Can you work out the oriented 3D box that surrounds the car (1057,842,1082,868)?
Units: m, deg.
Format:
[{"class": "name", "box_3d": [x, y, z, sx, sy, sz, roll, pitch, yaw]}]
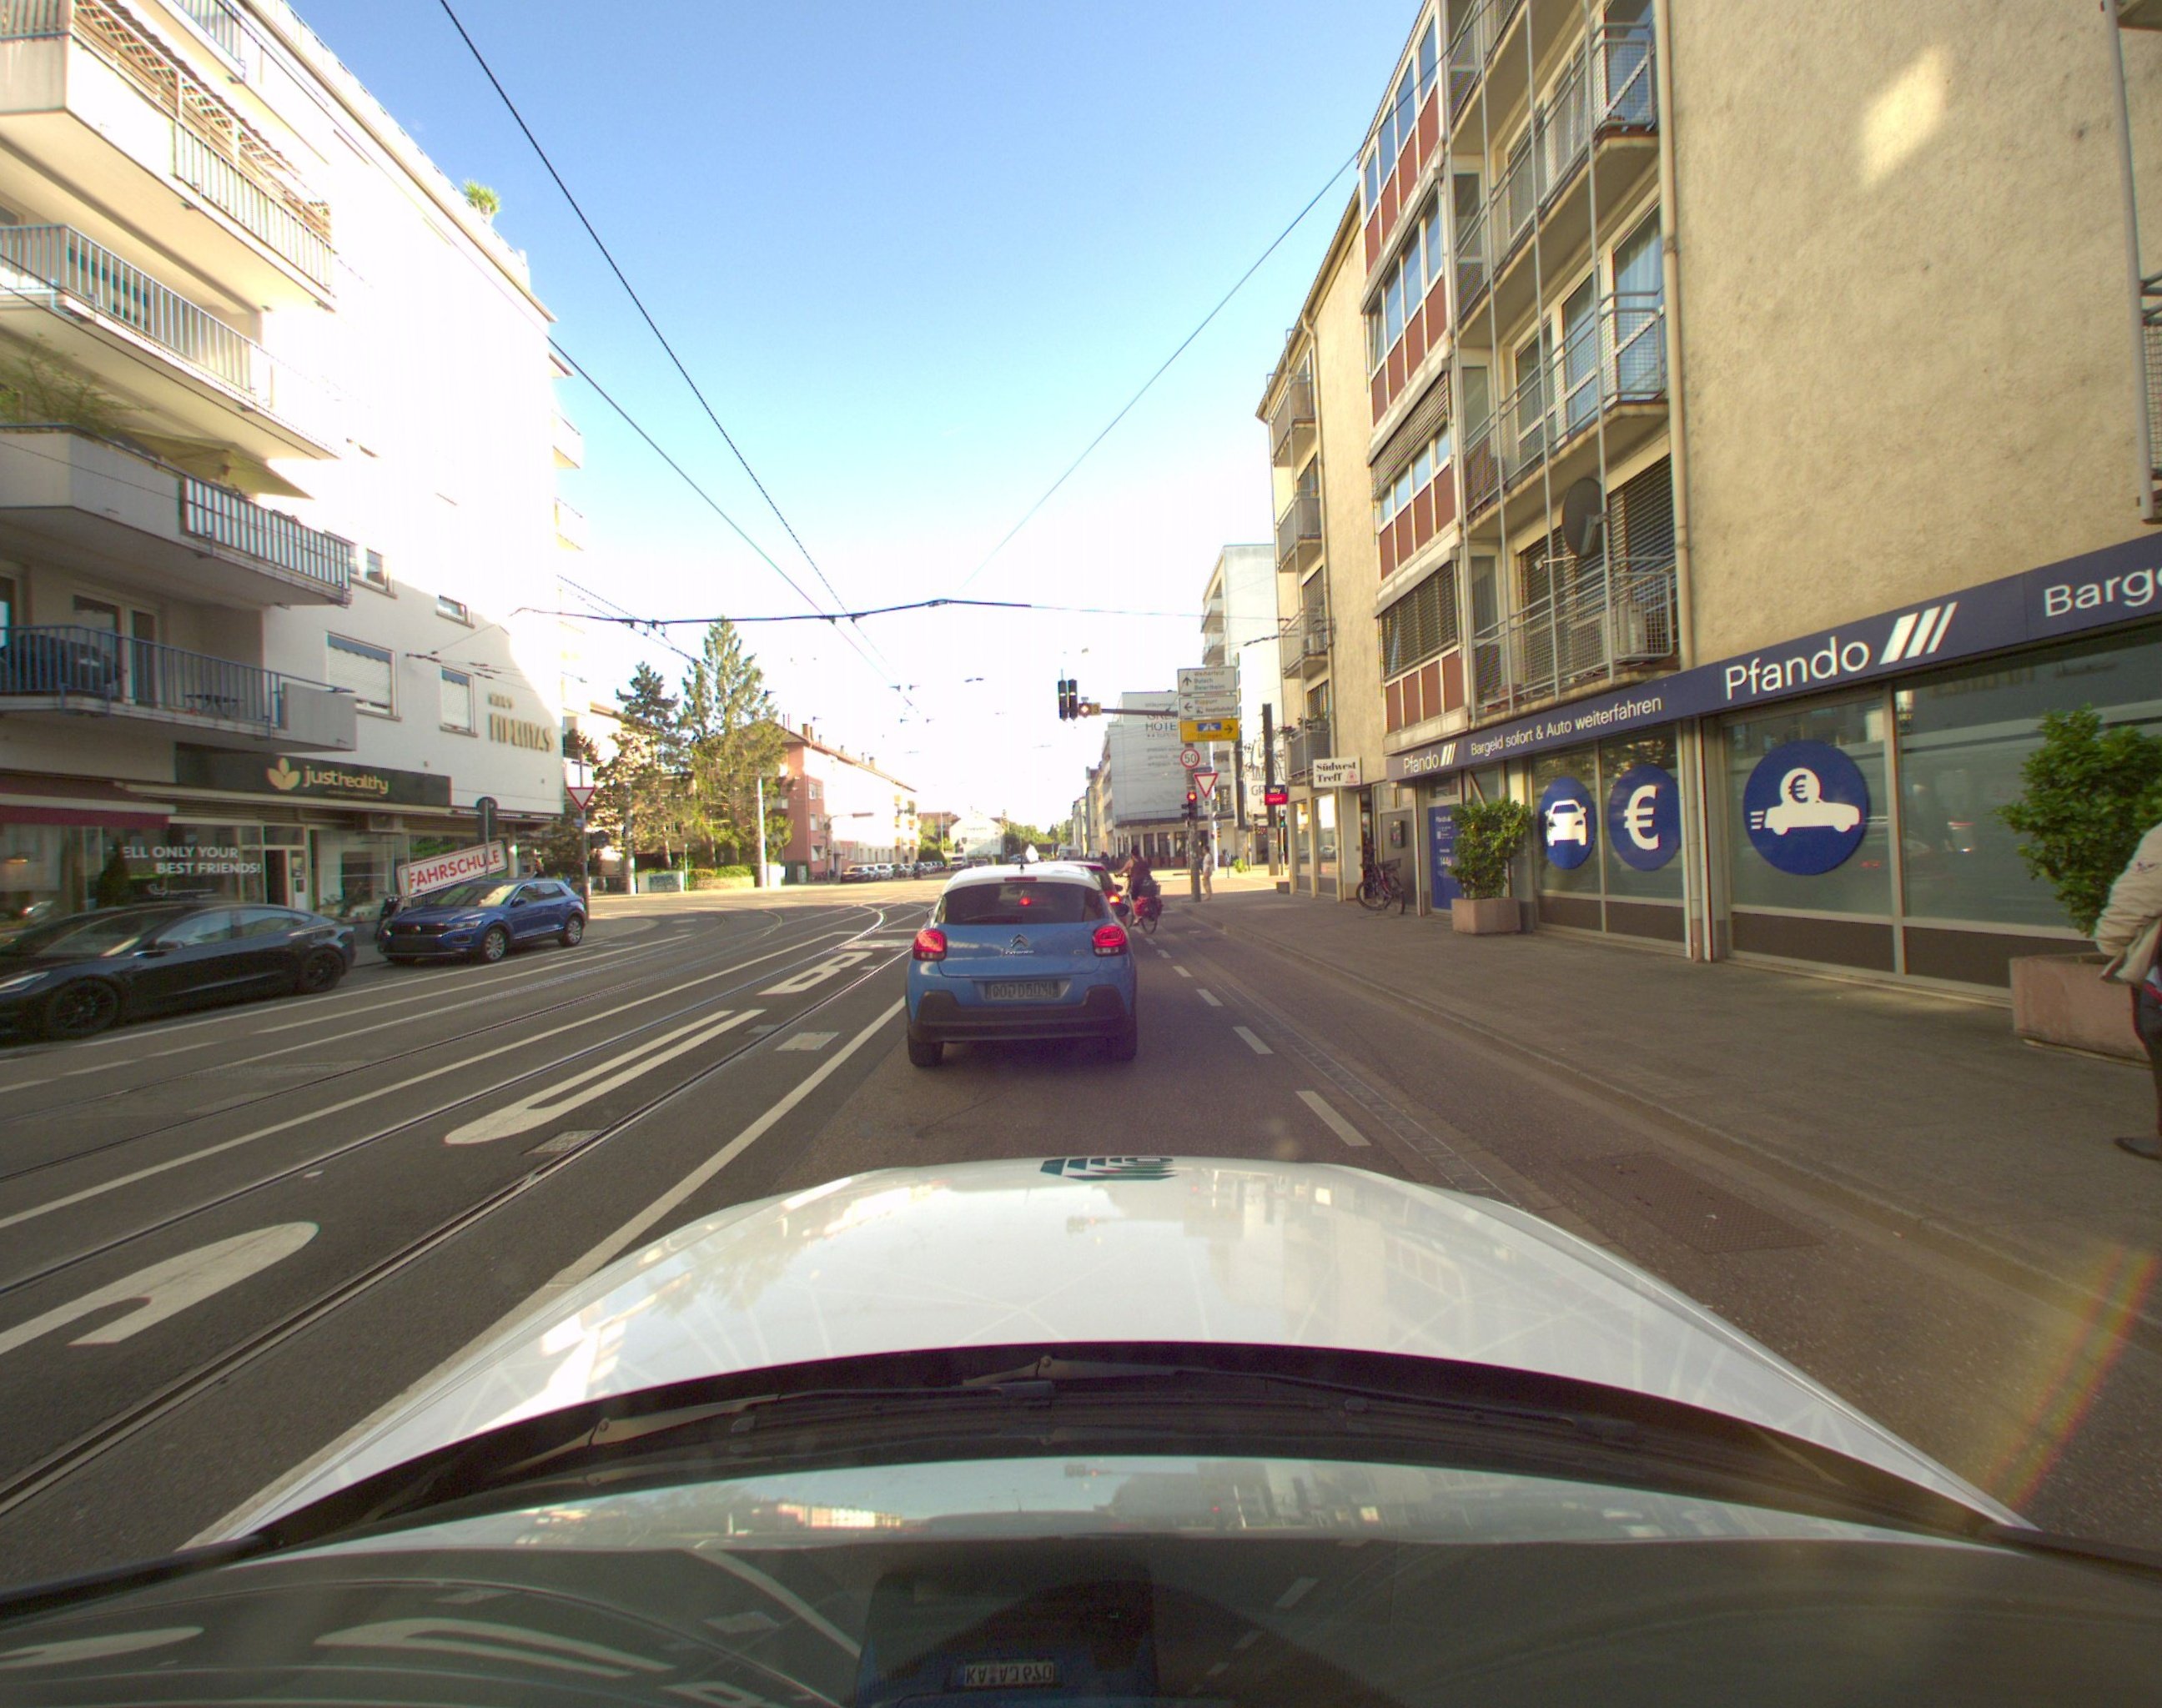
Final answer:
[{"class": "car", "box_3d": [-1.043, 0.087, 73.447, 2.074, 2.269, 5.647, -1, 0, -2]}]

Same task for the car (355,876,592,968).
[{"class": "car", "box_3d": [-11.881, 1.245, 16.325, 1.720, 1.505, 4.113, 0, 0, -2]}]

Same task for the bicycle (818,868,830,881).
[{"class": "bicycle", "box_3d": [-23.055, 1.838, 73.106, 0.536, 1.082, 1.908, -2, 0, -4]}]

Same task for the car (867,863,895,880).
[{"class": "car", "box_3d": [-19.565, 1.680, 79.855, 1.947, 1.519, 3.995, -2, 0, -4]}]

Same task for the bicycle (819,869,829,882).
[{"class": "bicycle", "box_3d": [-21.600, 1.790, 68.471, 0.537, 1.082, 1.905, -2, 0, -9]}]

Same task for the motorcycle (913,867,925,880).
[{"class": "motorcycle", "box_3d": [-13.488, 1.595, 67.760, 0.751, 0.976, 2.092, -2, 0, -7]}]

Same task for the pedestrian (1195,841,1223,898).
[{"class": "pedestrian", "box_3d": [3.836, 0.458, 24.415, 0.747, 1.635, 0.742, -2, 0, 7]}]

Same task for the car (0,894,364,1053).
[{"class": "car", "box_3d": [-11.986, 1.332, 10.422, 1.720, 1.403, 4.486, 0, 0, -2]}]

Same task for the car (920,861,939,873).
[{"class": "car", "box_3d": [-20.304, 1.767, 109.327, 1.947, 1.519, 3.995, -2, 0, -4]}]

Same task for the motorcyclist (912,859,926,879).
[{"class": "motorcyclist", "box_3d": [-13.479, 1.268, 67.693, 0.990, 1.631, 0.737, -2, 0, -7]}]

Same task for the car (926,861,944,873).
[{"class": "car", "box_3d": [-20.731, 1.846, 115.683, 1.947, 1.519, 3.995, -2, 0, -4]}]

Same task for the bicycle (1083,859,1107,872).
[{"class": "bicycle", "box_3d": [1.155, 0.955, 68.444, 1.901, 1.064, 0.641, -2, 0, -6]}]

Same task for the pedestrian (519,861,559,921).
[{"class": "pedestrian", "box_3d": [-17.254, 1.171, 25.923, 0.761, 1.834, 0.725, -2, 0, 28]}]

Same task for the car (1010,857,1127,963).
[{"class": "car", "box_3d": [-0.229, 0.814, 13.708, 1.675, 1.462, 3.997, -1, 0, -2]}]

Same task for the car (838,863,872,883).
[{"class": "car", "box_3d": [-19.295, 1.597, 69.619, 1.947, 1.519, 3.995, -2, 0, -4]}]

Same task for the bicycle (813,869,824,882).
[{"class": "bicycle", "box_3d": [-21.979, 1.790, 68.187, 0.537, 1.082, 1.905, -2, 0, -9]}]

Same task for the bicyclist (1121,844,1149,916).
[{"class": "bicyclist", "box_3d": [1.366, 0.637, 20.693, 0.598, 1.746, 1.084, -2, 0, 2]}]

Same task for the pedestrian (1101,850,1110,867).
[{"class": "pedestrian", "box_3d": [2.099, 0.398, 70.379, 0.520, 1.420, 0.550, -3, 0, 22]}]

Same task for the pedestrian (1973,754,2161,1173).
[{"class": "pedestrian", "box_3d": [4.441, 0.381, 3.186, 0.871, 1.571, 0.868, -4, 0, -1]}]

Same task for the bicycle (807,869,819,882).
[{"class": "bicycle", "box_3d": [-22.385, 1.789, 68.077, 0.640, 1.082, 1.905, -2, 0, -9]}]

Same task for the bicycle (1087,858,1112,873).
[{"class": "bicycle", "box_3d": [1.512, 0.932, 65.935, 1.901, 1.064, 0.641, -2, 0, -6]}]

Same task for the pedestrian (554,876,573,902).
[{"class": "pedestrian", "box_3d": [-35.396, 2.384, 55.708, 0.805, 1.702, 0.681, -2, 0, 1]}]

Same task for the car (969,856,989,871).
[{"class": "car", "box_3d": [-11.848, 1.067, 94.976, 2.002, 1.627, 5.044, -2, 0, -5]}]

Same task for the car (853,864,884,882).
[{"class": "car", "box_3d": [-19.576, 1.714, 75.243, 1.947, 1.519, 4.040, -2, 0, -4]}]

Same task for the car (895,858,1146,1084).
[{"class": "car", "box_3d": [-0.454, 0.795, 7.499, 1.675, 1.462, 3.997, -1, 0, -2]}]

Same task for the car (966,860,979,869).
[{"class": "car", "box_3d": [-19.345, 1.809, 145.244, 1.947, 1.519, 3.995, -2, 0, -4]}]

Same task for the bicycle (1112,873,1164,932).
[{"class": "bicycle", "box_3d": [1.160, 0.968, 16.922, 0.616, 1.103, 1.880, -2, 0, -9]}]

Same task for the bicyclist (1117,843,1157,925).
[{"class": "bicyclist", "box_3d": [1.151, 0.604, 16.908, 0.617, 1.630, 0.757, -2, 0, -9]}]

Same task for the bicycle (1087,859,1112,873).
[{"class": "bicycle", "box_3d": [1.521, 0.962, 67.242, 1.901, 1.064, 0.641, -2, 0, -6]}]

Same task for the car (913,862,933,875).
[{"class": "car", "box_3d": [-20.103, 1.795, 104.038, 1.947, 1.519, 3.995, -2, 0, -4]}]

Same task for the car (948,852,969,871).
[{"class": "car", "box_3d": [-18.133, 1.097, 120.575, 2.489, 2.712, 5.828, -2, 0, -5]}]

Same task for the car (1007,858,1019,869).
[{"class": "car", "box_3d": [-14.274, 1.972, 171.410, 2.333, 2.039, 5.044, -2, 0, -4]}]

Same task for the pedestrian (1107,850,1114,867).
[{"class": "pedestrian", "box_3d": [2.519, 0.381, 70.118, 0.467, 1.420, 0.524, -2, 0, -11]}]

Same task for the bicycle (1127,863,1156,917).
[{"class": "bicycle", "box_3d": [1.530, 0.891, 20.727, 0.611, 1.264, 1.911, -2, 0, 2]}]

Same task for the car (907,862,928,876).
[{"class": "car", "box_3d": [-19.857, 1.780, 99.024, 1.947, 1.519, 3.995, -2, 0, -4]}]

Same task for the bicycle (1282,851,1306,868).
[{"class": "bicycle", "box_3d": [14.793, 0.369, 56.578, 1.474, 1.091, 0.609, -3, 0, 39]}]

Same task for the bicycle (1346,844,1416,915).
[{"class": "bicycle", "box_3d": [5.756, 0.462, 15.740, 0.637, 1.264, 1.911, -2, 0, 2]}]

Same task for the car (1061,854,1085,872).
[{"class": "car", "box_3d": [-0.720, 0.743, 67.986, 1.783, 1.359, 3.909, -2, 0, -4]}]

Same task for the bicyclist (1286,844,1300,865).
[{"class": "bicyclist", "box_3d": [14.738, 0.054, 56.615, 0.720, 1.434, 0.609, -3, 0, 39]}]

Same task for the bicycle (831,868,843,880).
[{"class": "bicycle", "box_3d": [-22.721, 1.856, 75.802, 0.608, 1.082, 1.908, -2, 0, -4]}]

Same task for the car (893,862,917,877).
[{"class": "car", "box_3d": [-19.987, 1.785, 92.595, 1.947, 1.519, 3.995, -2, 0, -4]}]

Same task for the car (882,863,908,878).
[{"class": "car", "box_3d": [-19.735, 1.735, 86.528, 1.947, 1.519, 3.995, -2, 0, -4]}]
